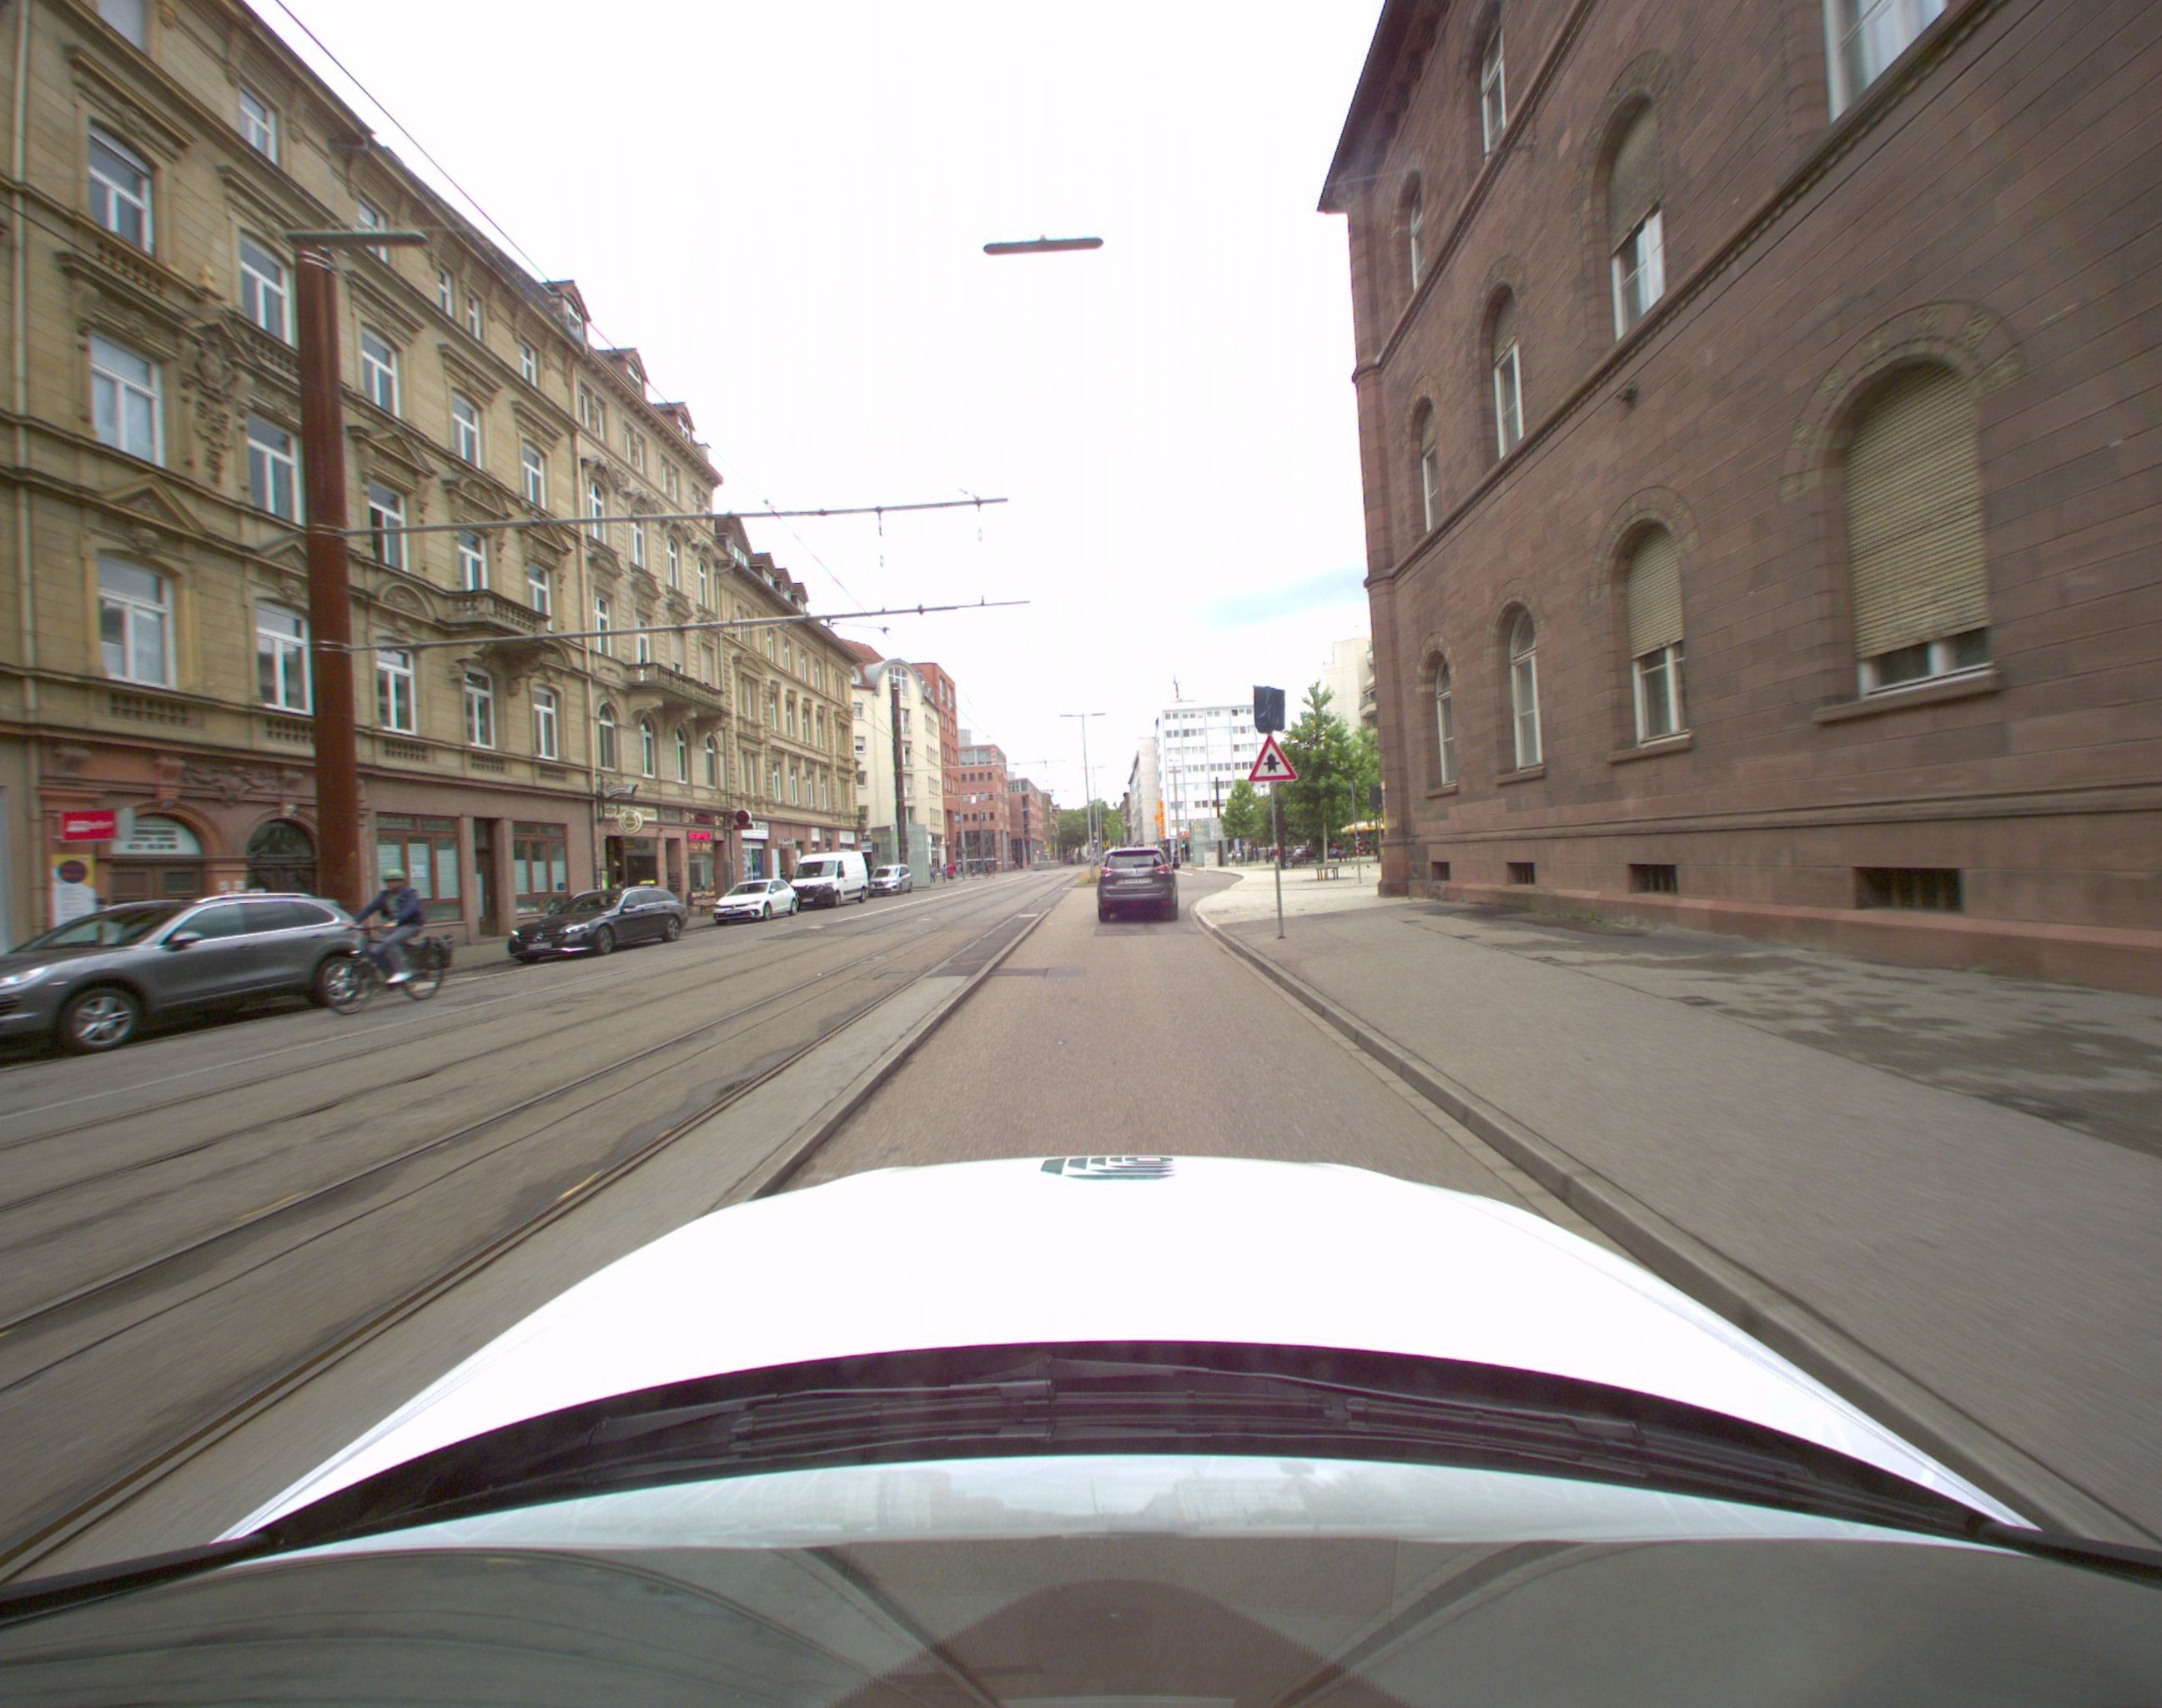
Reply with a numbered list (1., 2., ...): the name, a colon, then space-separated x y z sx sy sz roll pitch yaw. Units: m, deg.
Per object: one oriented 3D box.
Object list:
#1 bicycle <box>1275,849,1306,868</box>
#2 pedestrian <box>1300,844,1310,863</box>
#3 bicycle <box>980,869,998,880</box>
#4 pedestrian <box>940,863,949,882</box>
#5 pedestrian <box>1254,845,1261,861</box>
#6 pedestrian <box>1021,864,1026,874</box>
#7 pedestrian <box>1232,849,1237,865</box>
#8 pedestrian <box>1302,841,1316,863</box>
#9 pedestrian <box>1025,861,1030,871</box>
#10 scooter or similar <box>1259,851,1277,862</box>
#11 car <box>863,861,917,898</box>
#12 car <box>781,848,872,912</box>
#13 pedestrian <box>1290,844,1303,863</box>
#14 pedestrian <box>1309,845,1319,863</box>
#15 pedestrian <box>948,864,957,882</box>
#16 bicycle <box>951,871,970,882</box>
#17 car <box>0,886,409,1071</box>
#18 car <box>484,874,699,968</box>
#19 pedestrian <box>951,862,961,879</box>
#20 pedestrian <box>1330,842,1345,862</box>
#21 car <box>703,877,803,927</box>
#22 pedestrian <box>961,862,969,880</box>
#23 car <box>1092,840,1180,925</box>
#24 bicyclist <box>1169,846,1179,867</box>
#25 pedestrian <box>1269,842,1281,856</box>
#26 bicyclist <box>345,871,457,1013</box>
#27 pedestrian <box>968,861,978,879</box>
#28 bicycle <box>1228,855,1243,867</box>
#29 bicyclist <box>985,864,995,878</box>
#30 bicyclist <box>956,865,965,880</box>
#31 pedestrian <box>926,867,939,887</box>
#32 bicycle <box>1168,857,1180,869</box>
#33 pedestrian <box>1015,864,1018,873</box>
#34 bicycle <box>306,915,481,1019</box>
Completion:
1. bicycle: 13.630 0.306 53.016 1.901 1.123 0.647 -2 -1 12
2. pedestrian: 16.838 -0.055 61.195 0.623 1.366 0.923 -3 -1 19
3. bicycle: -9.558 2.117 84.550 1.888 1.021 0.483 -4 -1 26
4. pedestrian: -12.318 1.705 73.483 0.659 1.687 0.721 -3 -2 -8
5. pedestrian: 19.971 -0.078 92.290 0.666 1.761 0.644 -3 -1 17
6. pedestrian: -11.219 2.963 158.883 0.735 1.842 0.697 -2 -1 -23
7. pedestrian: 15.456 0.328 82.044 0.431 1.555 0.499 -2 -1 1
8. pedestrian: 19.669 -0.196 70.191 0.711 1.802 1.078 -6 -1 0
9. pedestrian: -10.572 2.417 161.230 0.694 1.842 0.738 -3 -1 19
10. scooter or similar: 18.875 0.226 82.212 1.571 0.948 0.729 -6 -1 39
11. car: -11.034 1.431 47.380 1.897 1.864 4.519 -5 -1 0
12. car: -11.388 1.105 36.908 2.046 2.486 5.665 -6 -1 0
13. pedestrian: 16.118 -0.048 60.921 0.629 1.366 0.683 -2 -1 -17
14. pedestrian: 17.552 -0.007 61.352 0.538 1.366 1.286 -3 -1 19
15. pedestrian: -12.264 1.856 77.861 0.720 1.687 0.660 -3 -2 -9
16. bicycle: -12.823 2.434 86.516 1.898 1.021 0.478 -4 -1 3
17. car: -11.858 1.424 10.716 1.808 1.689 5.028 -4 0 -1
18. car: -11.380 1.449 19.489 1.913 1.689 5.051 -6 -1 0
19. pedestrian: -12.729 1.695 82.978 0.870 1.687 0.659 -3 -2 -13
20. pedestrian: 18.167 -0.126 57.736 0.626 1.366 1.409 -2 -1 1
21. car: -11.592 1.643 29.084 1.765 1.422 4.164 -6 -1 0
22. pedestrian: -11.270 1.665 78.870 0.660 1.687 0.720 -3 -2 -11
23. car: 1.403 0.587 20.038 1.854 1.774 4.574 -2 1 5
24. bicyclist: 8.368 0.245 73.226 0.830 1.812 0.878 -2 -1 4
25. pedestrian: 19.497 -0.492 81.877 1.039 1.297 0.734 -5 -1 6
26. bicyclist: -9.626 1.204 11.561 0.642 1.883 1.029 -2 -1 3
27. pedestrian: -11.748 1.778 88.553 0.894 1.890 0.799 -2 -2 -1
28. bicycle: 13.560 0.625 71.519 0.651 0.978 1.765 -4 -1 30
29. bicyclist: -9.488 1.781 84.510 0.802 1.407 0.483 -4 -1 27
30. bicyclist: -12.781 1.985 86.524 0.806 1.540 0.493 -4 -1 2
31. pedestrian: -13.397 2.068 73.565 0.714 1.687 0.829 -4 -2 20
32. bicycle: 8.378 0.804 73.271 0.898 1.045 3.281 -3 -1 4
33. pedestrian: -11.064 2.415 139.893 0.450 1.532 0.519 -2 -1 -16
34. bicycle: -9.646 1.538 11.560 0.582 1.174 2.046 -5 -1 3
